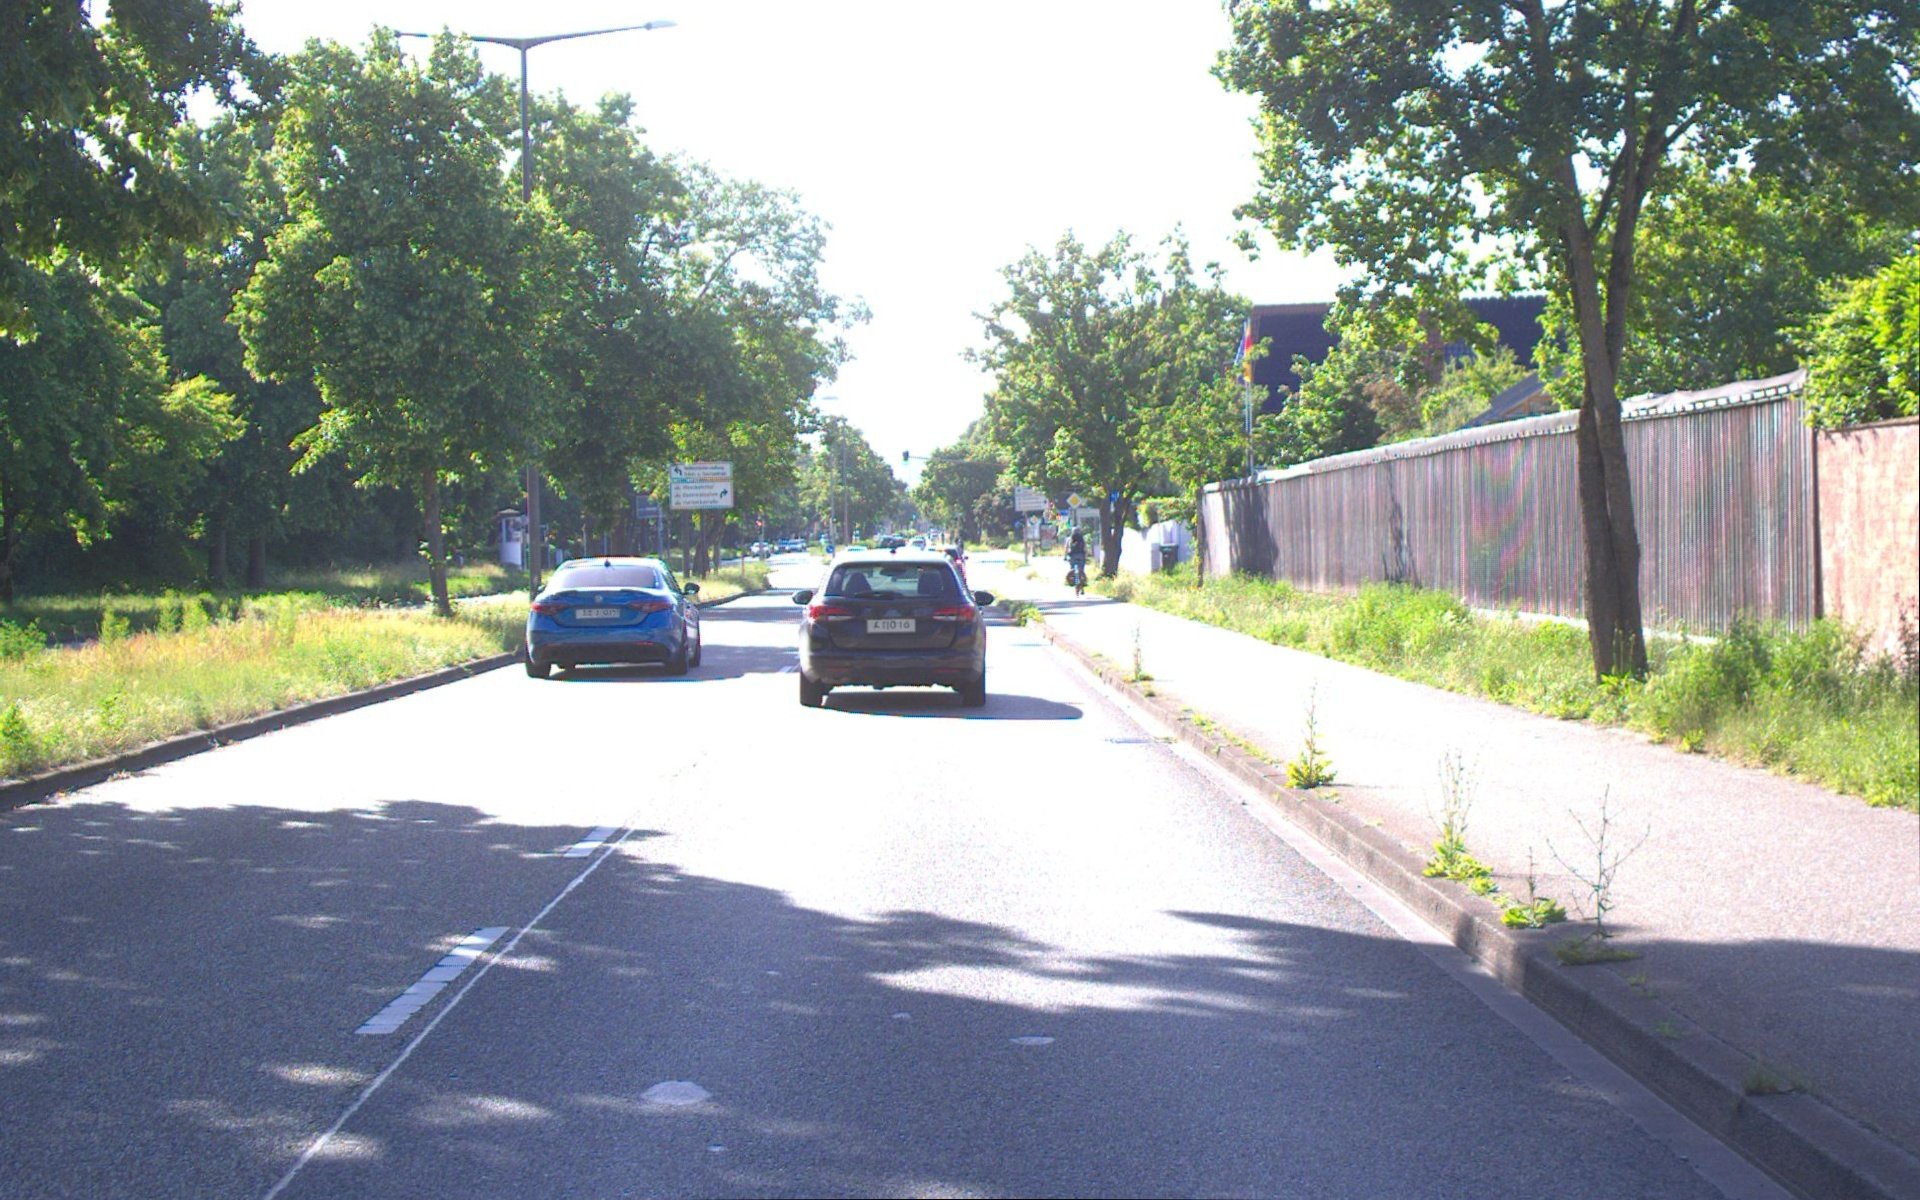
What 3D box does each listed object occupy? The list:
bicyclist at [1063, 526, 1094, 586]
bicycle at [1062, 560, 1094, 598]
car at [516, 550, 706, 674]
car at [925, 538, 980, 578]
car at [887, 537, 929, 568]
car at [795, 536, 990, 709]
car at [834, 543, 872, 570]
[{"bbox_3d":[2.857,-1.064,82.881,0.680,1.414,0.812,-1,1,-1],"label":"bicyclist"},{"bbox_3d":[2.841,-0.519,82.864,0.655,0.889,1.875,-1,1,-1],"label":"bicycle"},{"bbox_3d":[-4.204,0.109,41.946,1.994,1.400,4.000,-1,1,-1],"label":"car"},{"bbox_3d":[-0.309,-1.636,132.547,1.978,1.435,4.001,-1,2,-2],"label":"car"},{"bbox_3d":[-2.607,-2.385,171.913,1.978,1.435,4.001,-1,2,-2],"label":"car"},{"bbox_3d":[-0.602,0.175,33.277,1.760,1.554,4.000,1,1,0],"label":"car"},{"bbox_3d":[-6.139,-2.531,197.736,1.978,1.435,4.001,-1,2,-4],"label":"car"}]
